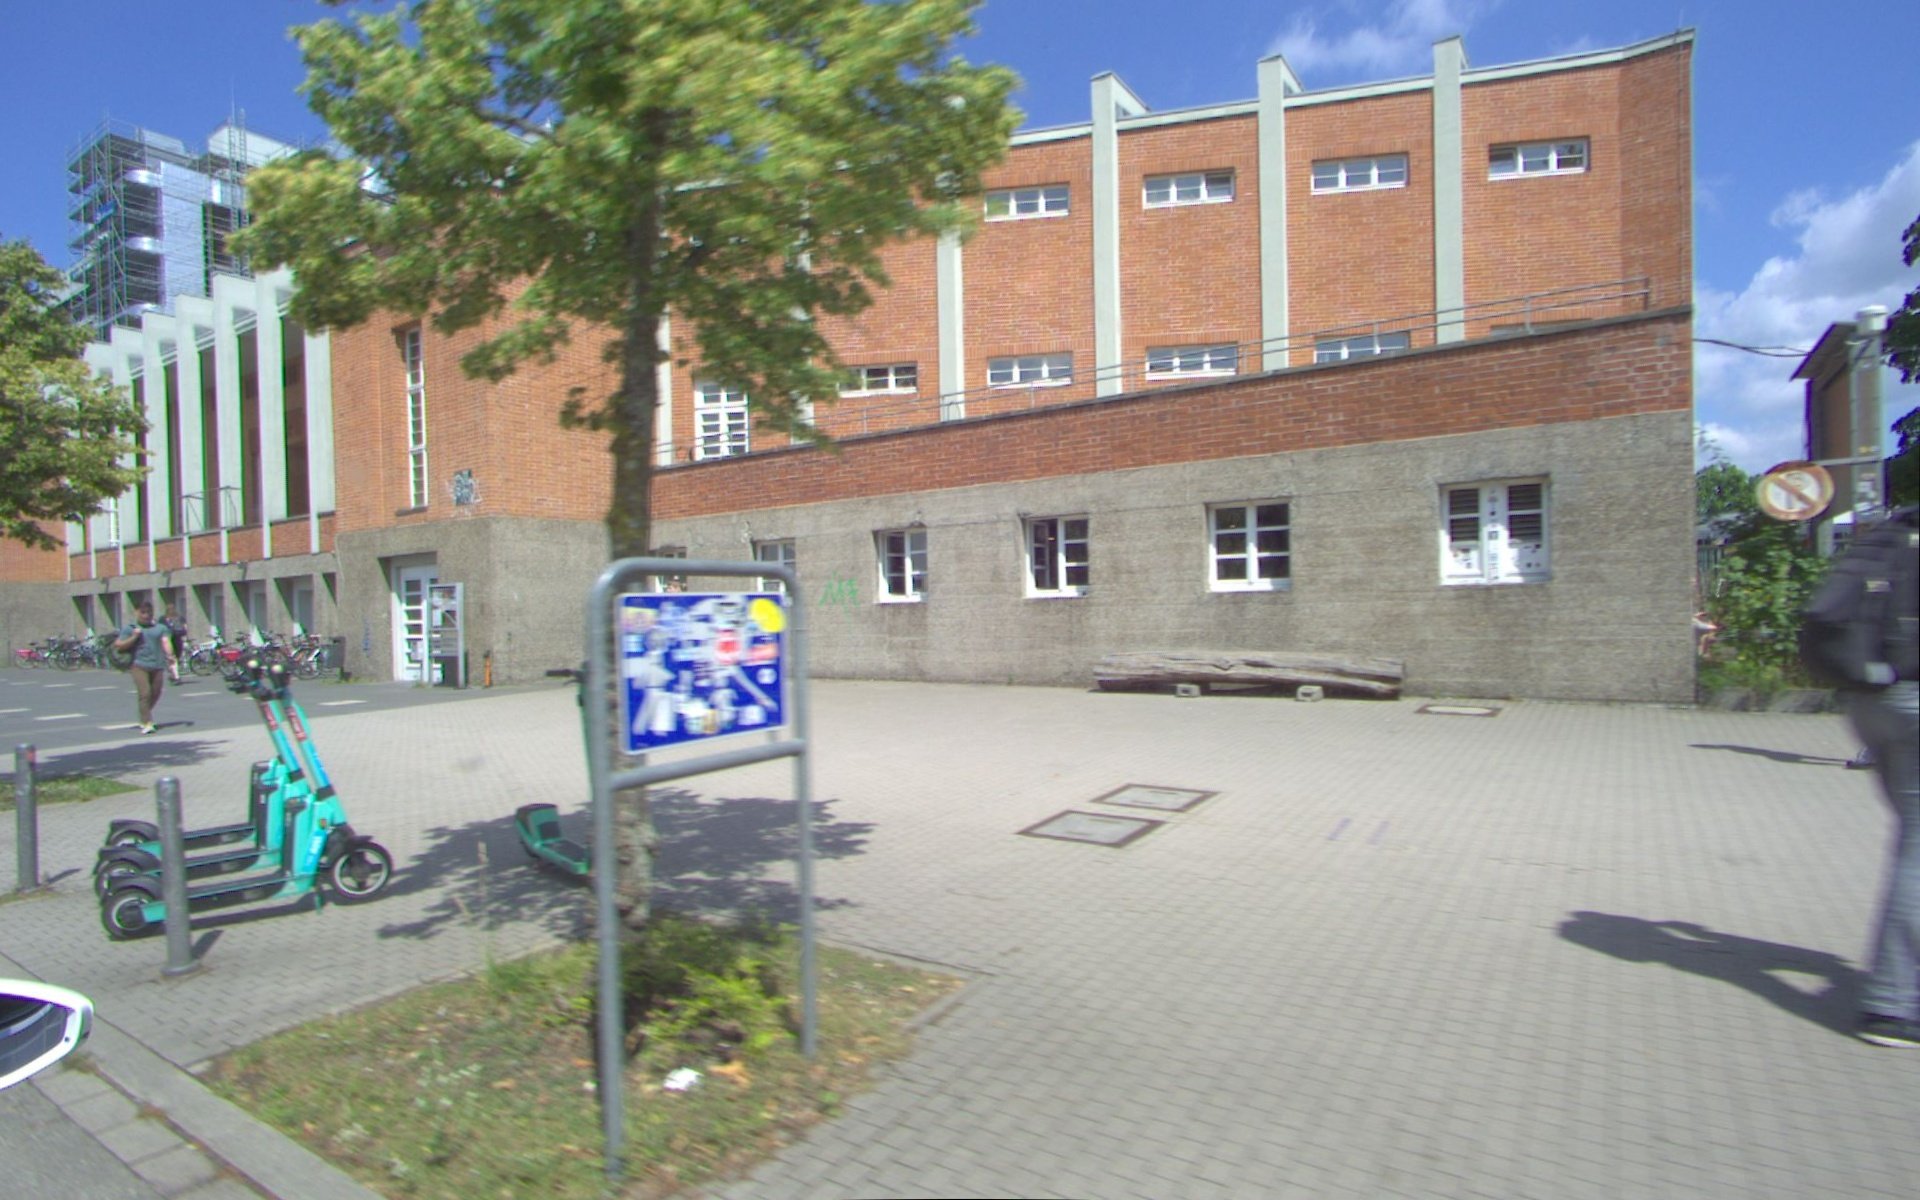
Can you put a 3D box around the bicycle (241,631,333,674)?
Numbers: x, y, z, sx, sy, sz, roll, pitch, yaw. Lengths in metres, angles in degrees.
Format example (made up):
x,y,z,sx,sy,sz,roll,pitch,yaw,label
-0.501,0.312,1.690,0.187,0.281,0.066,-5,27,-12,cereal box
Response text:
x,y,z,sx,sy,sz,roll,pitch,yaw,label
-16.642,1.290,24.805,0.552,0.924,1.804,-1,1,34,bicycle

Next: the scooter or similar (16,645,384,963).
x,y,z,sx,sy,sz,roll,pitch,yaw,label
-3.529,0.891,4.787,1.244,1.282,0.648,-1,1,-24,scooter or similar

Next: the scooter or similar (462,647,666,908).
x,y,z,sx,sy,sz,roll,pitch,yaw,label
-2.172,0.871,5.419,0.643,1.176,1.254,-2,1,-40,scooter or similar

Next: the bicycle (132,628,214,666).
x,y,z,sx,sy,sz,roll,pitch,yaw,label
-23.397,1.379,29.796,0.552,0.998,1.804,-1,2,34,bicycle

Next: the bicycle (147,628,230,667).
x,y,z,sx,sy,sz,roll,pitch,yaw,label
-22.422,1.370,29.144,0.552,0.998,1.804,-1,2,34,bicycle

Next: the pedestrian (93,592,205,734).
x,y,z,sx,sy,sz,roll,pitch,yaw,label
-10.591,0.788,13.074,1.146,1.756,0.850,-1,1,37,pedestrian

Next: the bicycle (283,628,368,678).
x,y,z,sx,sy,sz,roll,pitch,yaw,label
-14.574,1.195,23.042,0.552,1.047,1.530,-1,1,34,bicycle

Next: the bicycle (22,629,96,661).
x,y,z,sx,sy,sz,roll,pitch,yaw,label
-31.369,1.547,34.904,0.552,0.998,1.804,-1,2,34,bicycle

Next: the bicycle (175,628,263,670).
x,y,z,sx,sy,sz,roll,pitch,yaw,label
-20.003,1.304,27.081,0.552,0.998,1.804,-1,2,34,bicycle

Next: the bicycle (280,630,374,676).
x,y,z,sx,sy,sz,roll,pitch,yaw,label
-14.920,1.233,23.644,0.552,0.982,1.786,-1,1,34,bicycle

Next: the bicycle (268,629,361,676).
x,y,z,sx,sy,sz,roll,pitch,yaw,label
-15.448,1.240,23.998,0.552,0.991,1.779,-1,1,33,bicycle

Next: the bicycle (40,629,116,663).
x,y,z,sx,sy,sz,roll,pitch,yaw,label
-29.512,1.517,33.535,0.552,0.998,1.804,-1,2,34,bicycle

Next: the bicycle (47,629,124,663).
x,y,z,sx,sy,sz,roll,pitch,yaw,label
-28.929,1.514,33.154,0.552,0.998,1.804,-1,2,34,bicycle

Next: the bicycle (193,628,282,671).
x,y,z,sx,sy,sz,roll,pitch,yaw,label
-19.179,1.295,26.631,0.552,0.998,1.804,-1,2,34,bicycle

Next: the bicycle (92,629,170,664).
x,y,z,sx,sy,sz,roll,pitch,yaw,label
-26.451,1.462,31.970,0.552,0.998,1.804,-1,2,34,bicycle

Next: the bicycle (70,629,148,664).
x,y,z,sx,sy,sz,roll,pitch,yaw,label
-27.547,1.493,32.454,0.552,0.998,1.804,-1,2,34,bicycle

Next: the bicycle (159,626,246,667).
x,y,z,sx,sy,sz,roll,pitch,yaw,label
-20.856,1.253,27.602,0.552,0.998,1.804,-1,2,34,bicycle

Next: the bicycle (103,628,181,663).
x,y,z,sx,sy,sz,roll,pitch,yaw,label
-25.895,1.427,31.717,0.552,0.998,1.804,-1,2,34,bicycle

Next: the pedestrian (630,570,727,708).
x,y,z,sx,sy,sz,roll,pitch,yaw,label
-3.885,0.519,13.859,0.976,1.829,0.701,-1,4,21,pedestrian

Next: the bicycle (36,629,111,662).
x,y,z,sx,sy,sz,roll,pitch,yaw,label
-29.958,1.517,33.868,0.552,0.998,1.804,-1,2,34,bicycle

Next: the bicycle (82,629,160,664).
x,y,z,sx,sy,sz,roll,pitch,yaw,label
-26.973,1.476,32.232,0.552,0.998,1.804,-1,2,34,bicycle

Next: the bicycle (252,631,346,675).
x,y,z,sx,sy,sz,roll,pitch,yaw,label
-15.992,1.267,24.259,0.552,0.924,1.804,-1,1,34,bicycle

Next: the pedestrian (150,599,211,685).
x,y,z,sx,sy,sz,roll,pitch,yaw,label
-17.774,0.938,22.823,1.102,1.884,0.787,-1,1,36,pedestrian

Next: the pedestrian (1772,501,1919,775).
x,y,z,sx,sy,sz,roll,pitch,yaw,label
6.721,0.262,7.300,1.059,1.892,0.760,-1,1,24,pedestrian

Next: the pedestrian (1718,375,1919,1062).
x,y,z,sx,sy,sz,roll,pitch,yaw,label
3.119,0.347,3.249,0.814,2.006,0.690,-1,1,-18,pedestrian

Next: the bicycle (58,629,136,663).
x,y,z,sx,sy,sz,roll,pitch,yaw,label
-28.208,1.488,32.761,0.552,0.998,1.804,-1,2,34,bicycle

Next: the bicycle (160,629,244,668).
x,y,z,sx,sy,sz,roll,pitch,yaw,label
-21.676,1.372,28.653,0.552,0.998,1.804,-1,2,34,bicycle

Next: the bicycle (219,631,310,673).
x,y,z,sx,sy,sz,roll,pitch,yaw,label
-17.760,1.319,25.624,0.552,0.924,1.804,-1,2,34,bicycle

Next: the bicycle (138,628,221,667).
x,y,z,sx,sy,sz,roll,pitch,yaw,label
-22.930,1.376,29.454,0.552,0.998,1.804,-1,2,34,bicycle

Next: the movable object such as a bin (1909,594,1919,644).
x,y,z,sx,sy,sz,roll,pitch,yaw,label
26.127,0.512,26.930,0.757,1.338,0.780,0,0,34,movable object such as a bin

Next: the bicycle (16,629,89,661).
x,y,z,sx,sy,sz,roll,pitch,yaw,label
-32.134,1.569,35.468,0.552,0.998,1.804,-1,2,34,bicycle

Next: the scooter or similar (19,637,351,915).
x,y,z,sx,sy,sz,roll,pitch,yaw,label
-4.060,0.867,5.364,1.244,1.282,0.648,-1,1,-24,scooter or similar

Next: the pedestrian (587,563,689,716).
x,y,z,sx,sy,sz,roll,pitch,yaw,label
-4.211,0.499,13.131,0.977,1.918,0.701,-1,3,21,pedestrian

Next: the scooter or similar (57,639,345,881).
x,y,z,sx,sy,sz,roll,pitch,yaw,label
-4.537,0.909,6.090,1.244,1.282,0.637,-1,1,-24,scooter or similar
